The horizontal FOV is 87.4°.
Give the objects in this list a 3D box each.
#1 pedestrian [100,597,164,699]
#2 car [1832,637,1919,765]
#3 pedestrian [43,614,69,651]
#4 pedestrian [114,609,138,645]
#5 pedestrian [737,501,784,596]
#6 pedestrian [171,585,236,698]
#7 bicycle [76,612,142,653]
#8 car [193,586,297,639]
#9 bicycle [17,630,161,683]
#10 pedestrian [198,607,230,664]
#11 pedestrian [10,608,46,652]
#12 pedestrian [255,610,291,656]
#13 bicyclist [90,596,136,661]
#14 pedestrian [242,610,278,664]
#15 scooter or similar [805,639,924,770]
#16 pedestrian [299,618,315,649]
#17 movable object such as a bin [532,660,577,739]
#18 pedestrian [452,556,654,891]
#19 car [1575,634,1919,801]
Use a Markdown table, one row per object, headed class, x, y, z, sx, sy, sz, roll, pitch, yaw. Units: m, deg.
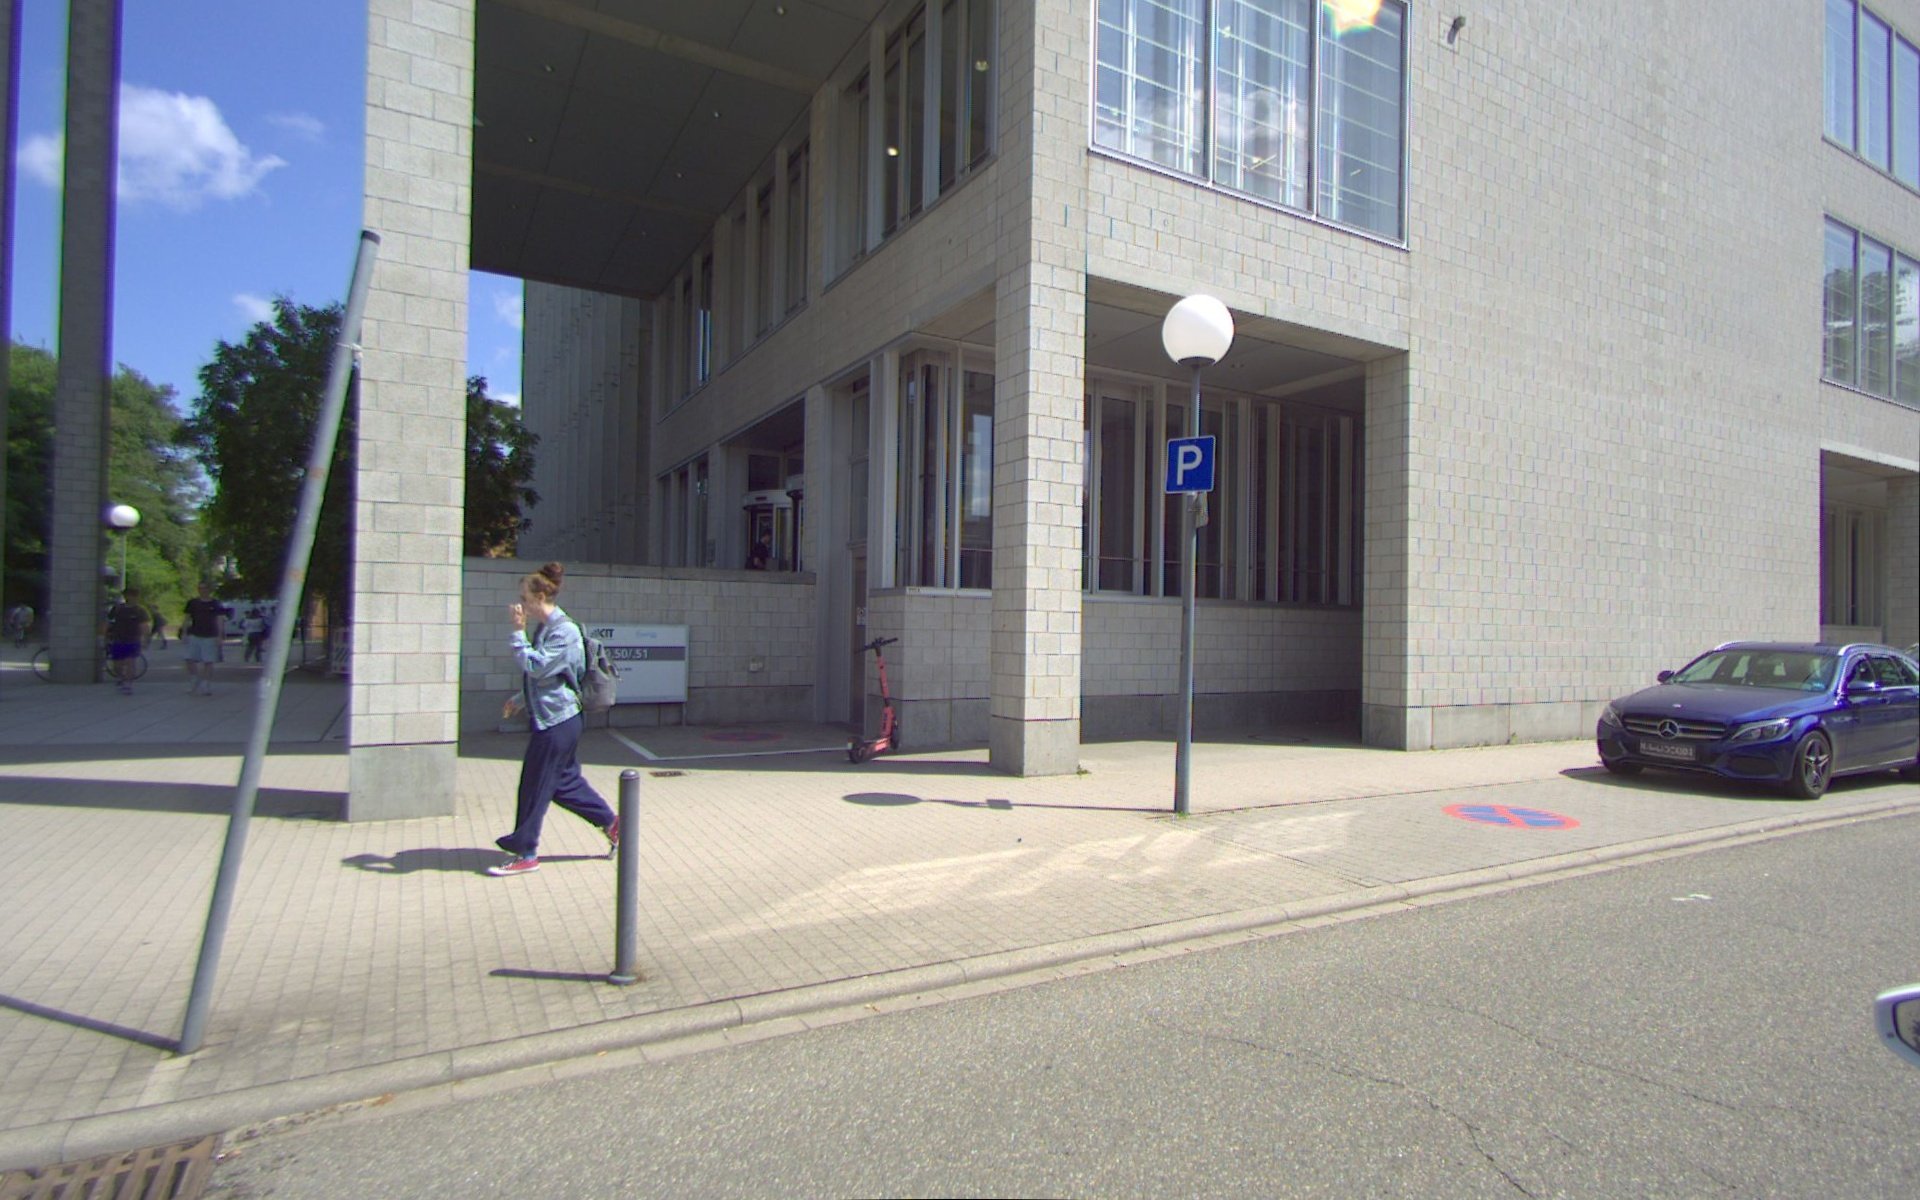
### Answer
| class | x | y | z | sx | sy | sz | roll | pitch | yaw |
| --- | --- | --- | --- | --- | --- | --- | --- | --- | --- |
| pedestrian | -13.426 | 0.770 | 16.313 | 0.590 | 1.614 | 0.824 | 2 | -1 | -27 |
| car | 13.329 | 1.303 | 13.123 | 4.127 | 1.504 | 1.624 | 2 | -1 | -29 |
| pedestrian | -40.999 | 1.474 | 45.560 | 0.751 | 1.617 | 0.392 | 2 | -1 | -30 |
| pedestrian | -33.672 | 1.086 | 40.551 | 0.536 | 1.421 | 0.483 | 1 | -1 | -8 |
| pedestrian | -3.685 | -0.929 | 18.537 | 0.685 | 1.683 | 0.631 | 2 | -1 | -25 |
| pedestrian | -12.460 | 0.672 | 16.564 | 0.728 | 1.814 | 0.622 | 2 | -1 | -28 |
| bicycle | -26.728 | 1.011 | 31.618 | 0.873 | 1.215 | 2.732 | 2 | -1 | -25 |
| car | -39.892 | 0.698 | 56.167 | 4.582 | 2.813 | 1.981 | 2 | -1 | -35 |
| bicycle | -16.488 | 1.075 | 19.082 | 1.971 | 0.958 | 0.523 | 2 | -1 | -31 |
| pedestrian | -22.177 | 1.059 | 29.868 | 0.632 | 1.671 | 0.597 | 2 | -1 | -27 |
| pedestrian | -35.728 | 1.157 | 38.513 | 0.770 | 1.637 | 0.722 | 3 | -1 | -26 |
| pedestrian | -23.811 | 1.124 | 34.828 | 0.706 | 1.561 | 0.704 | 1 | -1 | -3 |
| bicyclist | -26.756 | 0.897 | 31.749 | 0.864 | 2.040 | 0.844 | 2 | -1 | -24 |
| pedestrian | -21.421 | 1.130 | 30.743 | 0.776 | 1.625 | 0.597 | 2 | -1 | -27 |
| scooter or similar | -0.948 | 1.025 | 10.376 | 0.516 | 1.226 | 1.557 | 1 | -1 | 23 |
| pedestrian | -35.178 | 1.803 | 54.096 | 0.627 | 1.627 | 0.595 | 2 | -1 | -40 |
| movable object such as a bin | -4.831 | 1.178 | 11.969 | 0.444 | 0.906 | 0.167 | 2 | -1 | -35 |
| pedestrian | -2.312 | 0.650 | 5.716 | 0.882 | 1.724 | 0.644 | 2 | -1 | -40 |
| car | 8.708 | 1.159 | 10.749 | 4.182 | 1.446 | 1.759 | 2 | -1 | -28 |
